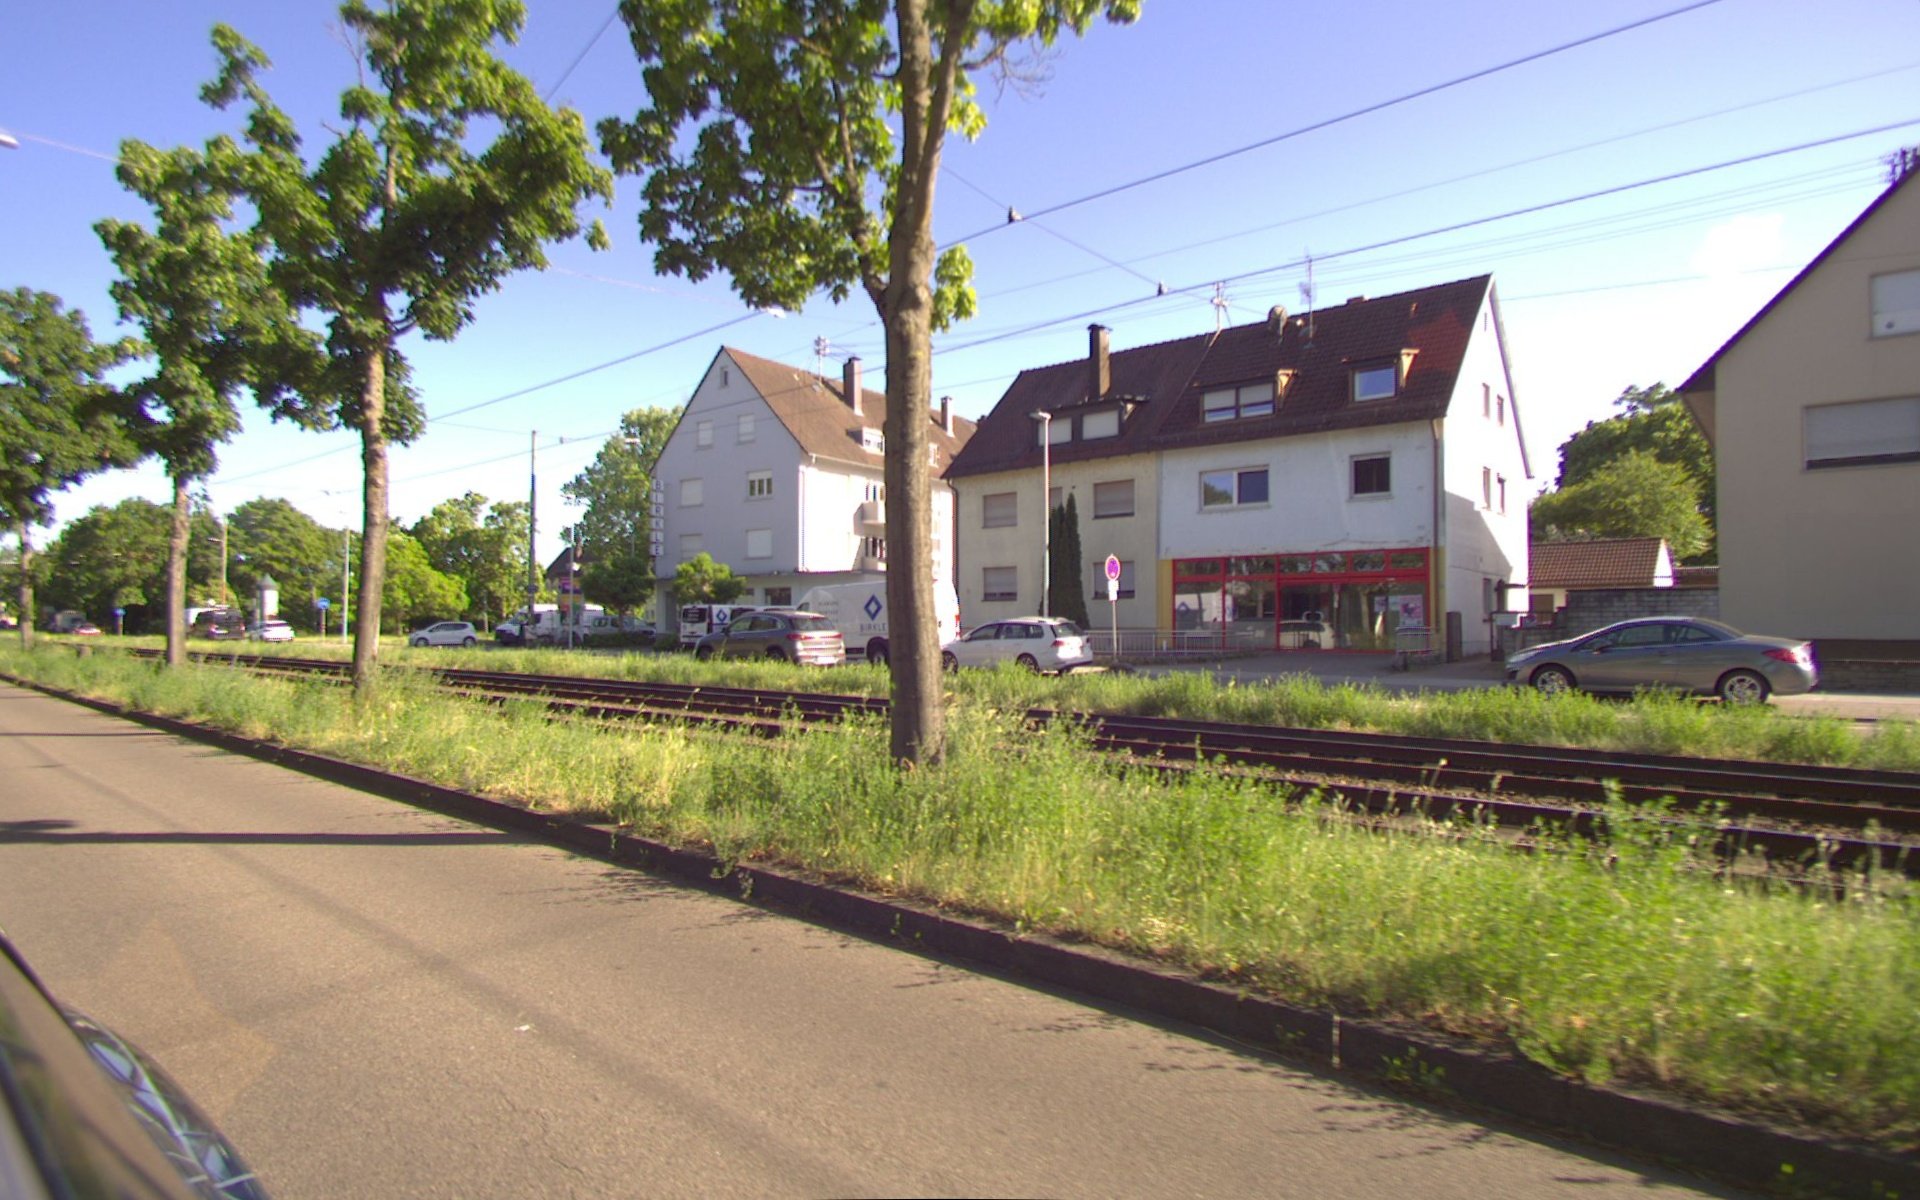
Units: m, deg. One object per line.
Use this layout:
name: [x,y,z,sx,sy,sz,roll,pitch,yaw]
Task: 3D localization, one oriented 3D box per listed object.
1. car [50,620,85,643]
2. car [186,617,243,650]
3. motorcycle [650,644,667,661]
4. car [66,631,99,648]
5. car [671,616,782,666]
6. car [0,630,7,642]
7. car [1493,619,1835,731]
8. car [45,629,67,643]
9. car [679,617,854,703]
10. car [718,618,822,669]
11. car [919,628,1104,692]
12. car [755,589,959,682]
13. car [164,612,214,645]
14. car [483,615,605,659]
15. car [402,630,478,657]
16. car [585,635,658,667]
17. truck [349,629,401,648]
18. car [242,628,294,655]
car: [-105.850,3.725,119.997,6.795,2.600,2.202,-2,-1,41]
car: [-56.637,2.490,76.843,6.462,2.394,2.160,-1,0,41]
motorcycle: [-15.787,2.743,52.948,0.310,0.859,0.883,-1,-2,33]
car: [-76.046,3.424,87.691,3.998,1.420,1.659,-2,-2,41]
car: [-9.761,1.689,42.721,1.992,1.960,4.585,-1,-1,30]
car: [-129.642,4.800,135.979,3.750,1.543,1.972,-2,-2,42]
car: [11.726,1.166,17.037,4.496,1.593,1.972,-2,-1,42]
car: [-114.561,4.540,128.232,4.282,1.575,1.748,-1,-1,43]
car: [-4.830,1.385,24.887,4.523,1.897,1.895,-1,0,42]
car: [-7.694,1.727,41.314,1.992,1.967,4.108,-1,-1,30]
car: [1.259,1.482,26.152,4.655,1.423,1.806,-1,0,41]
car: [-3.190,0.972,29.978,6.671,2.478,1.973,-1,0,41]
car: [-62.760,2.301,82.328,6.133,2.515,1.981,-1,0,41]
car: [-26.169,2.267,64.000,2.326,2.526,7.002,-2,-1,36]
car: [-29.385,2.443,57.219,3.566,1.489,1.754,1,-2,-36]
car: [-19.248,2.845,57.499,4.087,1.683,1.781,-1,0,33]
truck: [-66.290,4.347,114.680,2.069,1.883,4.907,-1,0,21]
car: [-46.704,2.773,68.259,4.772,1.619,1.804,-1,0,42]
